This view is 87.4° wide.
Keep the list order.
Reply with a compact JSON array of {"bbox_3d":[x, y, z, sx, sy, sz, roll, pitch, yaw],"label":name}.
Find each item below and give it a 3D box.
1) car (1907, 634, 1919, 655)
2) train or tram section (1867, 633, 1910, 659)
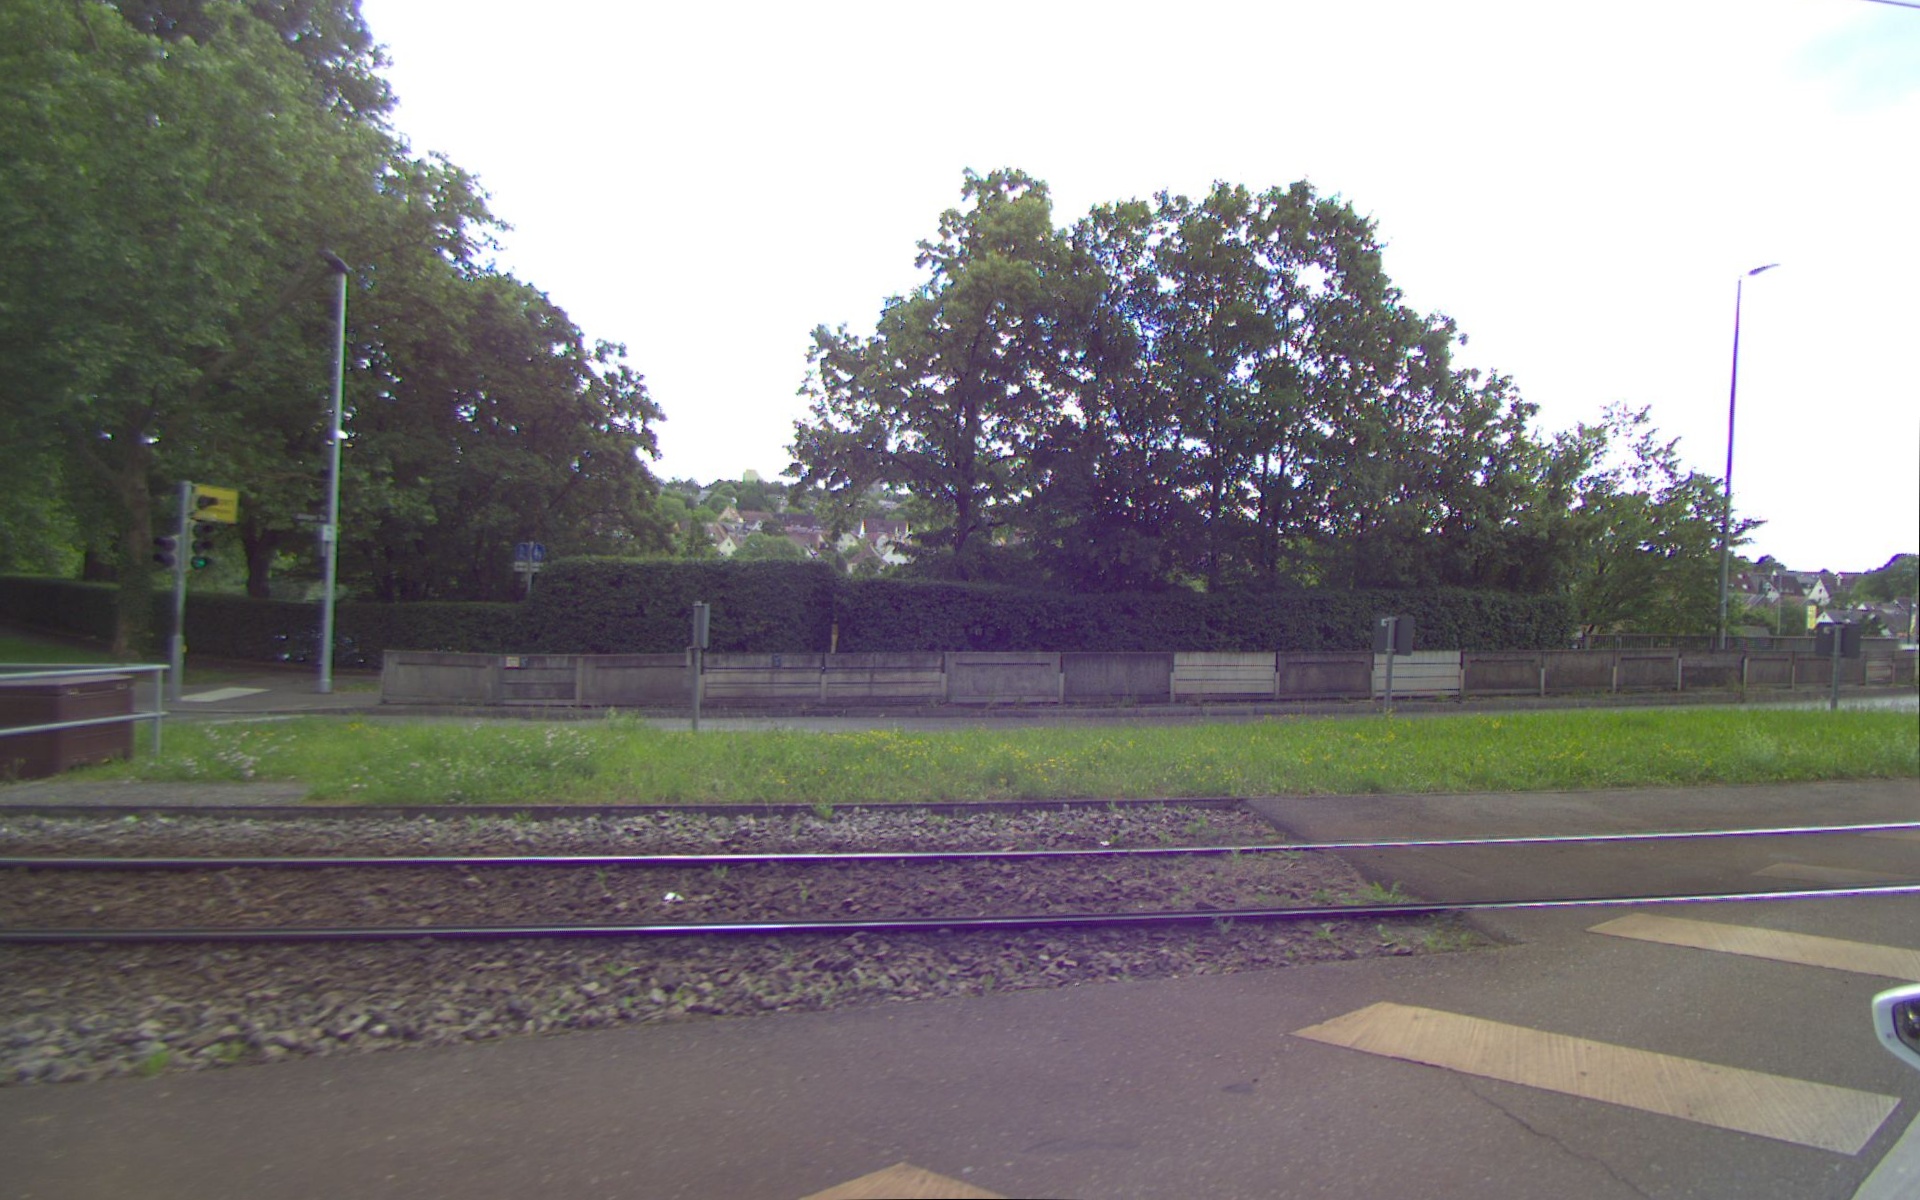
[{"bbox_3d":[75.938,3.501,78.720,1.969,1.592,4.885,3,1,38],"label":"car"},{"bbox_3d":[140.421,6.940,152.134,2.846,3.555,18.597,0,-2,37],"label":"train or tram section"}]
